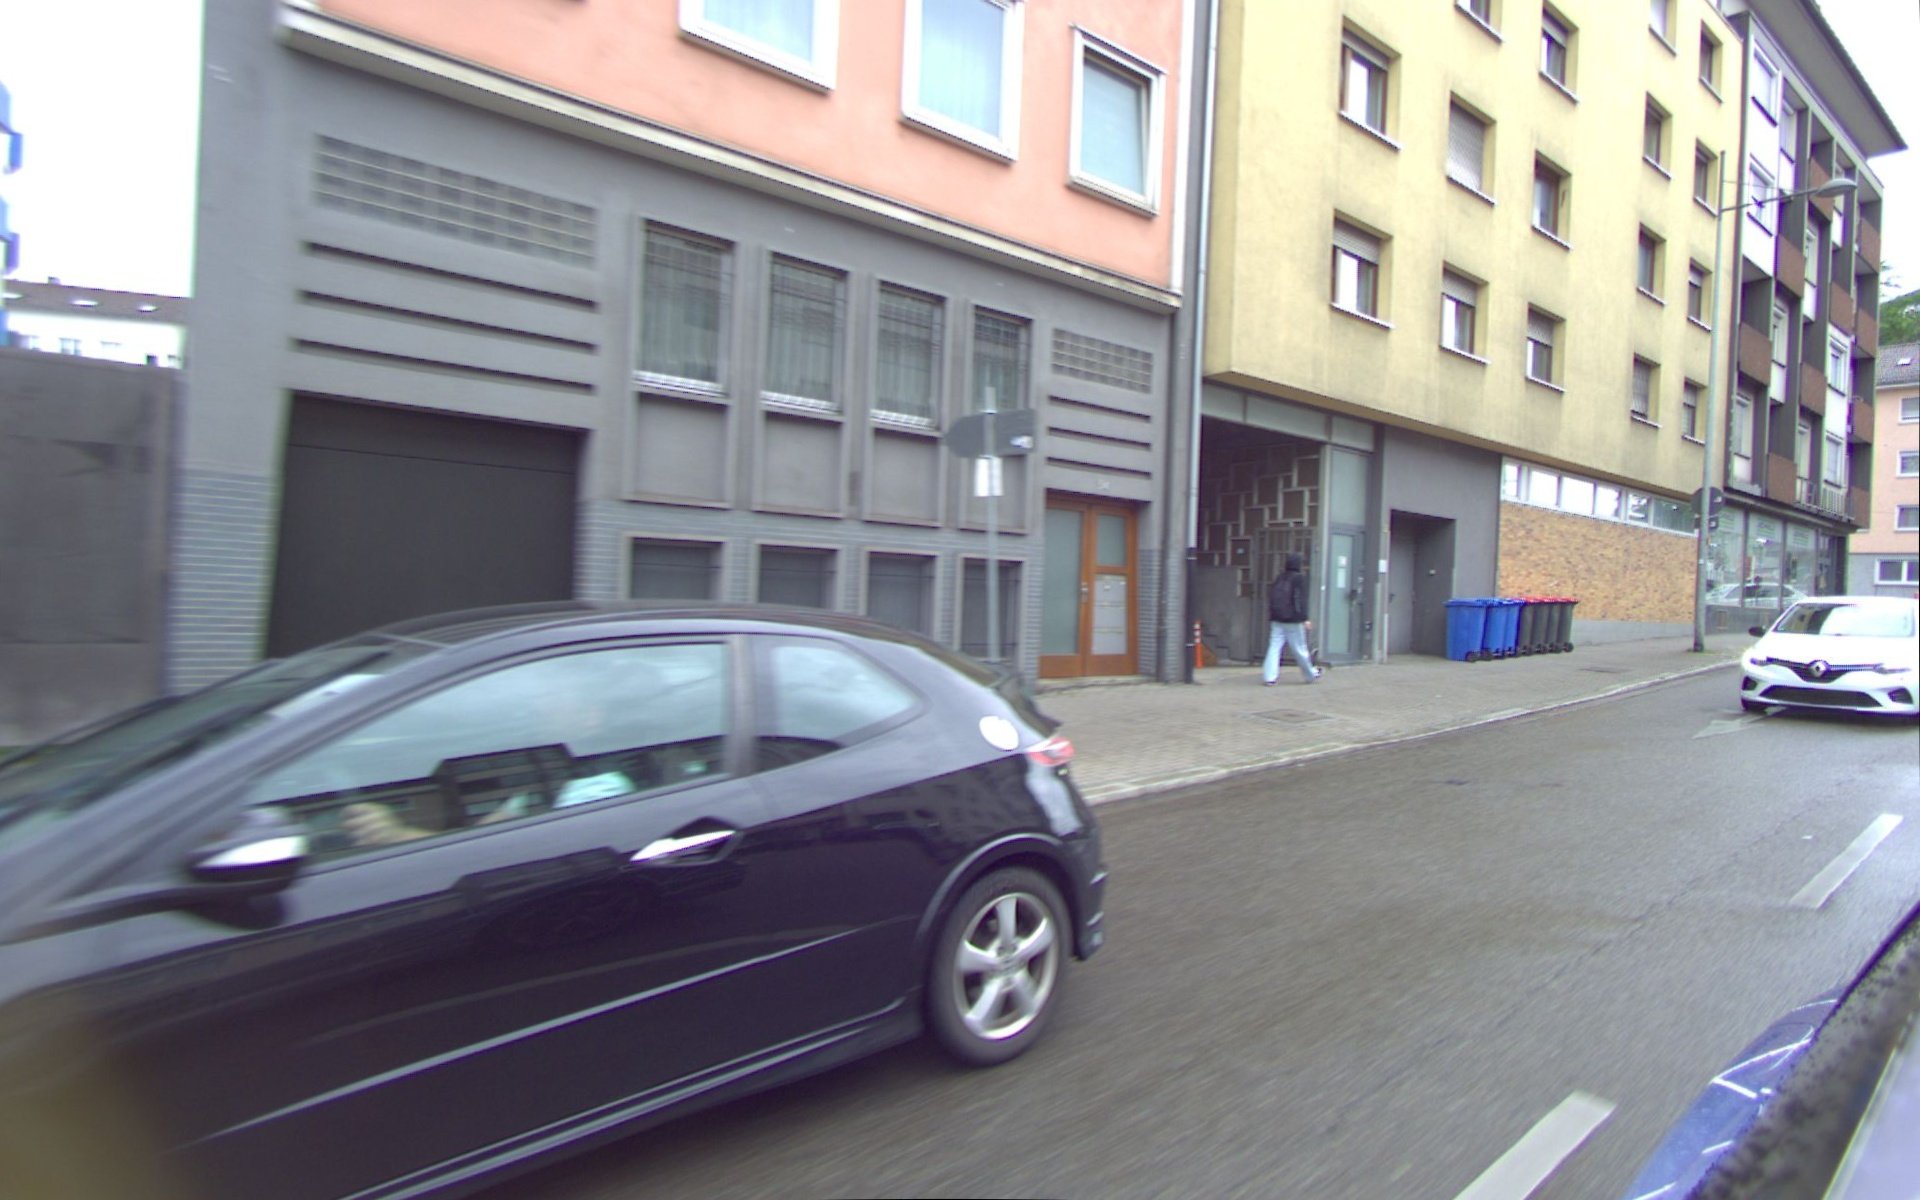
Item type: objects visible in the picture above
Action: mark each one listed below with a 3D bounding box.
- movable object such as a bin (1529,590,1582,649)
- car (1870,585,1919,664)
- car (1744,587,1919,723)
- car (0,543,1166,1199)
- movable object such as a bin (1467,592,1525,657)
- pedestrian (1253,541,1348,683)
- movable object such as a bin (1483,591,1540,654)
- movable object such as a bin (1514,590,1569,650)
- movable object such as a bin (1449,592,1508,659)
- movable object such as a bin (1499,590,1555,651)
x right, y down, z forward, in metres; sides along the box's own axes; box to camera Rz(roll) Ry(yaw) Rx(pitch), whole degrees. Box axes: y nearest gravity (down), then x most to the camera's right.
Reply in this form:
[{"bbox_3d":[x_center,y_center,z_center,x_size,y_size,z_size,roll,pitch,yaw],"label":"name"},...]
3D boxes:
[{"bbox_3d":[11.527,0.368,19.603,0.656,1.090,0.682,0,2,-40],"label":"movable object such as a bin"},{"bbox_3d":[19.802,0.464,19.493,5.190,1.404,2.043,-1,3,-33],"label":"car"},{"bbox_3d":[11.480,0.575,12.738,3.928,1.421,1.680,-1,2,-39],"label":"car"},{"bbox_3d":[-1.351,0.656,2.980,3.985,1.515,1.787,0,0,-40],"label":"car"},{"bbox_3d":[9.466,0.414,17.869,0.656,1.090,0.682,0,2,-40],"label":"movable object such as a bin"},{"bbox_3d":[4.537,0.152,13.485,1.075,1.810,0.675,1,0,-37],"label":"pedestrian"},{"bbox_3d":[9.980,0.387,18.304,0.656,1.090,0.682,0,2,-40],"label":"movable object such as a bin"},{"bbox_3d":[11.014,0.364,19.164,0.656,1.090,0.682,0,2,-40],"label":"movable object such as a bin"},{"bbox_3d":[8.932,0.426,17.434,0.656,1.090,0.682,0,2,-40],"label":"movable object such as a bin"},{"bbox_3d":[10.493,0.371,18.734,0.656,1.090,0.682,0,2,-40],"label":"movable object such as a bin"}]
